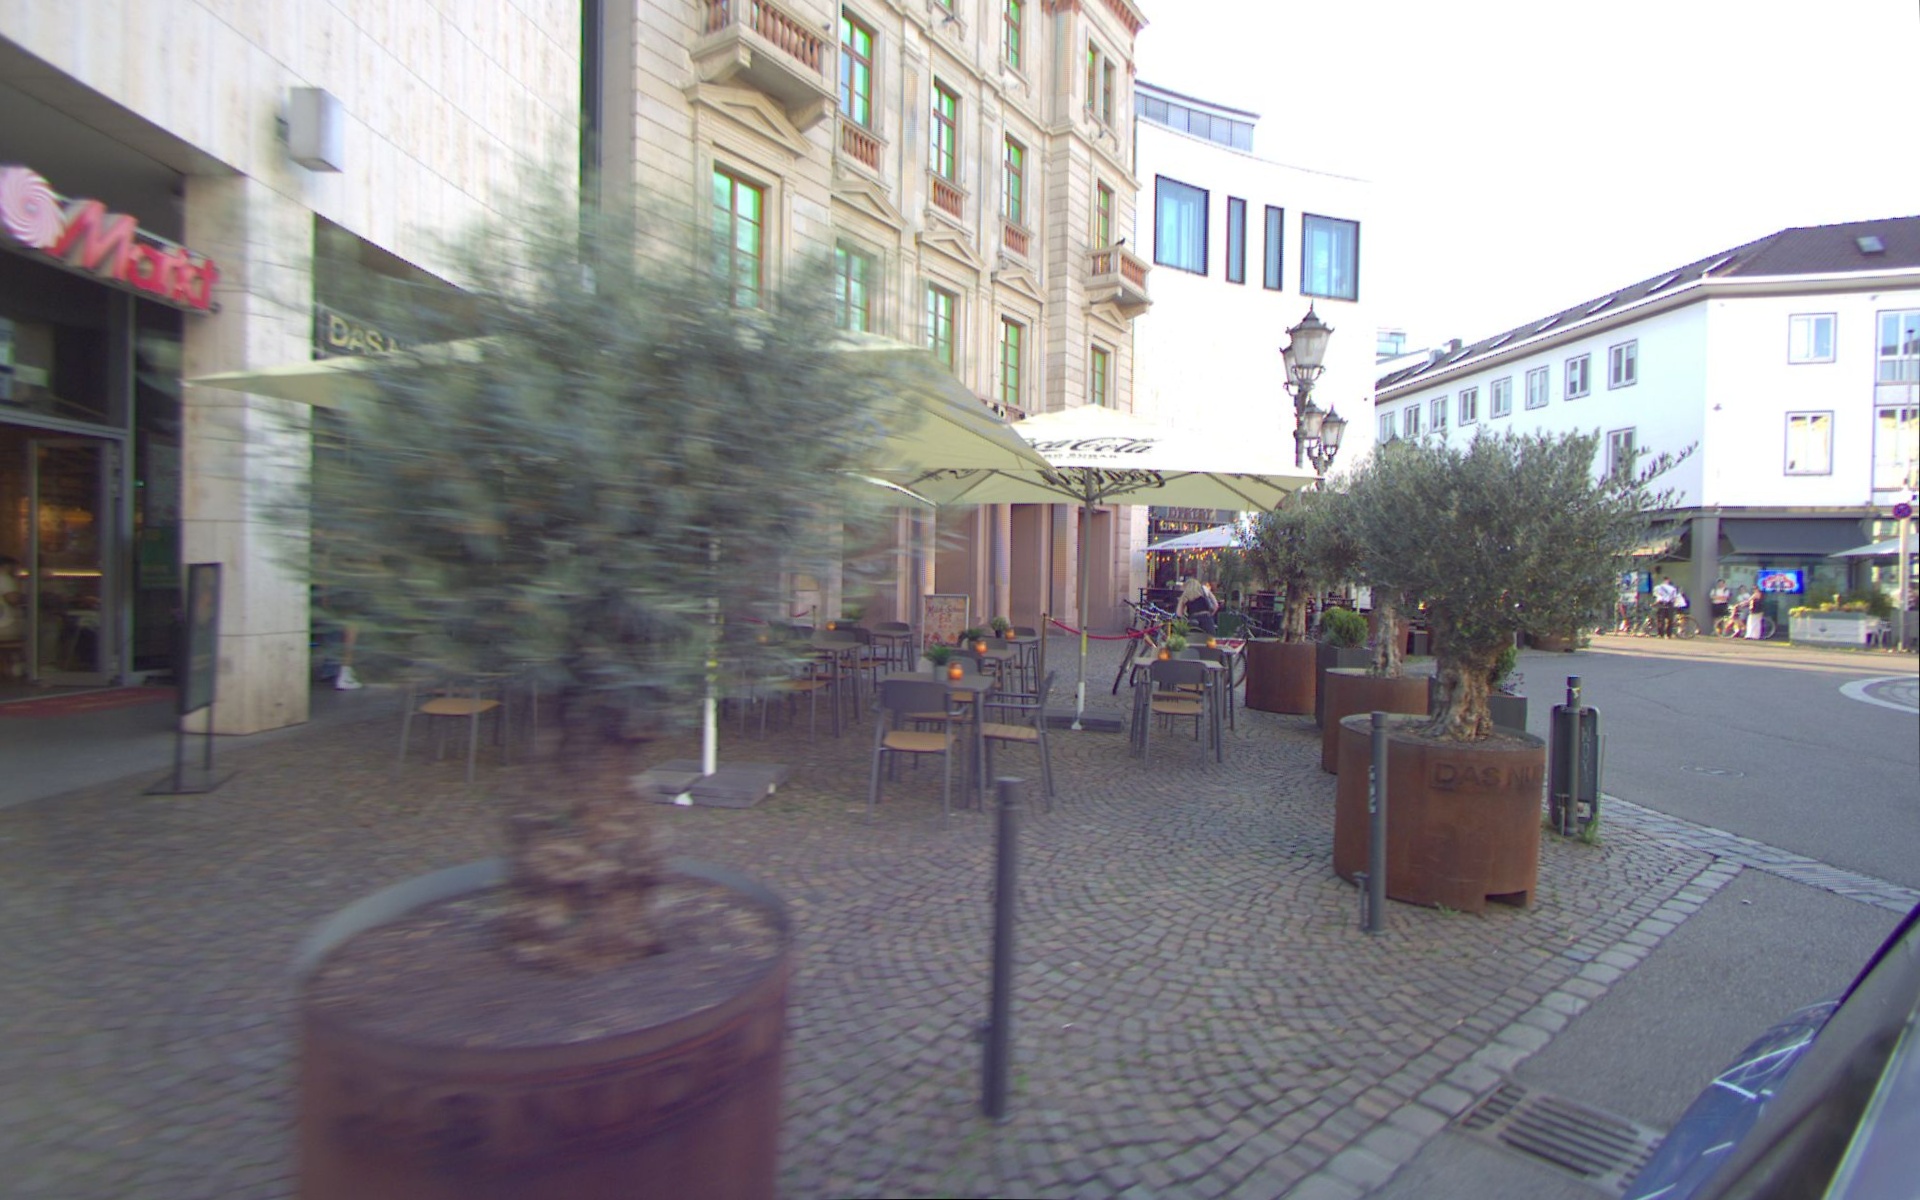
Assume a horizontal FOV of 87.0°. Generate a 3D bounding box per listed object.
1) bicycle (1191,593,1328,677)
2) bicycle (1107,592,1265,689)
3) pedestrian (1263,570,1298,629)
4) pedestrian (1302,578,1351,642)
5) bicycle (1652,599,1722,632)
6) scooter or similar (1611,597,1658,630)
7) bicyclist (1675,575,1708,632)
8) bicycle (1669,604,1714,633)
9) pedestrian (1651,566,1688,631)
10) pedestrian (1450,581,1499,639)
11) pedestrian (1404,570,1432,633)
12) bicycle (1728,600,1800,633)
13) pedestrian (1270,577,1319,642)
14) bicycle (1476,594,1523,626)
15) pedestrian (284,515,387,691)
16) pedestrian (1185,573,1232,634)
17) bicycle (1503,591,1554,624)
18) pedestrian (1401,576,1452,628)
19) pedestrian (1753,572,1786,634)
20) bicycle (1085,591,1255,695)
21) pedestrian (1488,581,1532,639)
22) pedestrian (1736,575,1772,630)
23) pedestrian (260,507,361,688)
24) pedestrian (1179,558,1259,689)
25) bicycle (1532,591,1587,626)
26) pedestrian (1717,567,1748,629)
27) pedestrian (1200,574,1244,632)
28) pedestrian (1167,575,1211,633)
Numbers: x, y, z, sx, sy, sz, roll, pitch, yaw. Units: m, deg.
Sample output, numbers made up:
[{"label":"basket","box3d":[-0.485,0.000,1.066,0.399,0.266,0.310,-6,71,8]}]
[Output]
[{"label":"bicycle","box3d":[4.515,0.516,15.359,1.874,1.142,0.606,3,1,8]},{"label":"bicycle","box3d":[2.942,0.520,13.260,1.869,1.142,0.608,3,1,-3]},{"label":"pedestrian","box3d":[9.745,-0.008,30.782,0.701,1.769,0.711,1,1,-22]},{"label":"pedestrian","box3d":[8.621,0.233,23.835,0.848,1.465,0.724,1,1,-4]},{"label":"bicycle","box3d":[21.922,0.448,30.550,1.650,0.946,0.473,1,1,10]},{"label":"scooter or similar","box3d":[21.790,0.439,32.702,1.182,1.024,0.487,1,1,3]},{"label":"bicyclist","box3d":[22.847,0.113,31.598,0.818,1.765,0.483,1,1,-26]},{"label":"bicycle","box3d":[22.850,0.572,31.605,1.453,0.859,0.483,0,1,-26]},{"label":"pedestrian","box3d":[21.571,-0.056,30.796,0.615,1.952,0.646,1,1,-4]},{"label":"pedestrian","box3d":[13.261,0.238,26.118,0.848,1.465,0.724,1,1,-4]},{"label":"pedestrian","box3d":[13.303,0.035,29.378,0.703,1.769,0.710,1,1,26]},{"label":"bicycle","box3d":[24.419,0.493,30.750,1.650,0.946,0.473,1,1,10]},{"label":"pedestrian","box3d":[7.740,0.201,23.432,0.848,1.465,0.724,1,1,-4]},{"label":"bicycle","box3d":[21.173,0.374,39.759,0.511,1.155,1.968,1,2,-10]},{"label":"pedestrian","box3d":[-6.516,0.022,10.592,0.656,1.767,0.719,1,1,-5]},{"label":"pedestrian","box3d":[6.172,0.082,25.162,0.835,1.465,0.776,1,1,-14]},{"label":"bicycle","box3d":[21.311,0.270,38.008,0.511,1.156,1.968,1,1,-10]},{"label":"pedestrian","box3d":[13.489,0.054,29.292,0.926,1.465,0.973,1,1,-12]},{"label":"pedestrian","box3d":[24.412,0.074,30.518,0.704,1.841,0.510,1,1,-26]},{"label":"bicycle","box3d":[2.529,0.511,12.309,1.869,1.142,0.608,3,1,-3]},{"label":"pedestrian","box3d":[14.215,0.254,26.170,0.679,1.465,0.724,1,1,-4]},{"label":"pedestrian","box3d":[24.858,0.062,31.693,0.718,1.697,0.621,1,1,-26]},{"label":"pedestrian","box3d":[-7.022,-0.032,10.972,0.656,1.885,0.719,1,1,-5]},{"label":"pedestrian","box3d":[3.263,0.285,12.808,0.700,1.608,0.751,1,0,-10]},{"label":"bicycle","box3d":[21.365,0.293,36.106,0.511,1.156,1.968,1,1,-10]},{"label":"pedestrian","box3d":[24.734,-0.074,32.394,0.532,1.947,0.582,1,1,-26]},{"label":"pedestrian","box3d":[6.796,0.078,26.270,0.835,1.465,0.776,1,1,-12]},{"label":"pedestrian","box3d":[5.869,0.096,25.984,0.835,1.465,0.776,1,1,-12]}]
